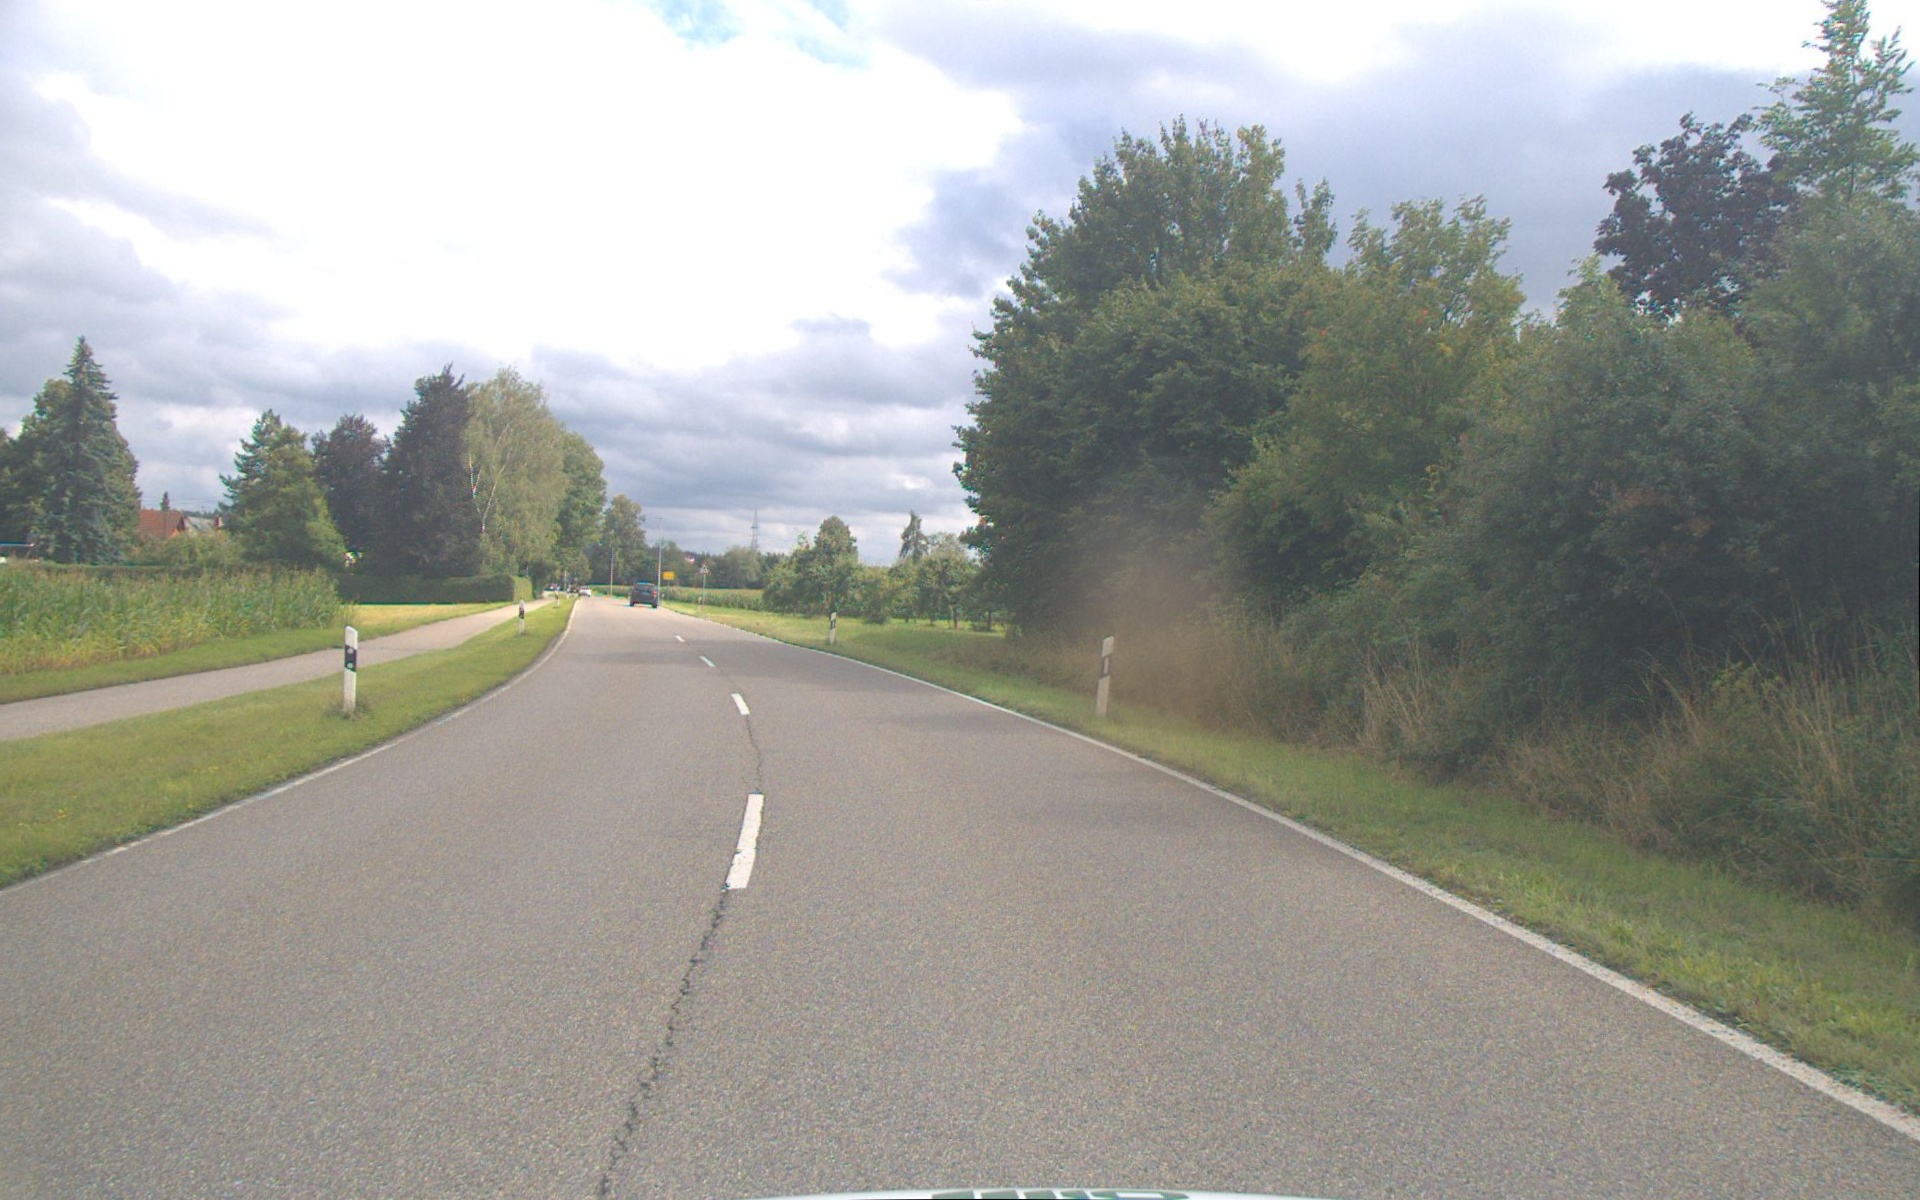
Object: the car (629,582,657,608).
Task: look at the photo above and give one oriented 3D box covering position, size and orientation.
[{"bbox_3d":[-22.341,-0.350,116.617,1.872,1.695,3.990,1,0,-11],"label":"car"}]
